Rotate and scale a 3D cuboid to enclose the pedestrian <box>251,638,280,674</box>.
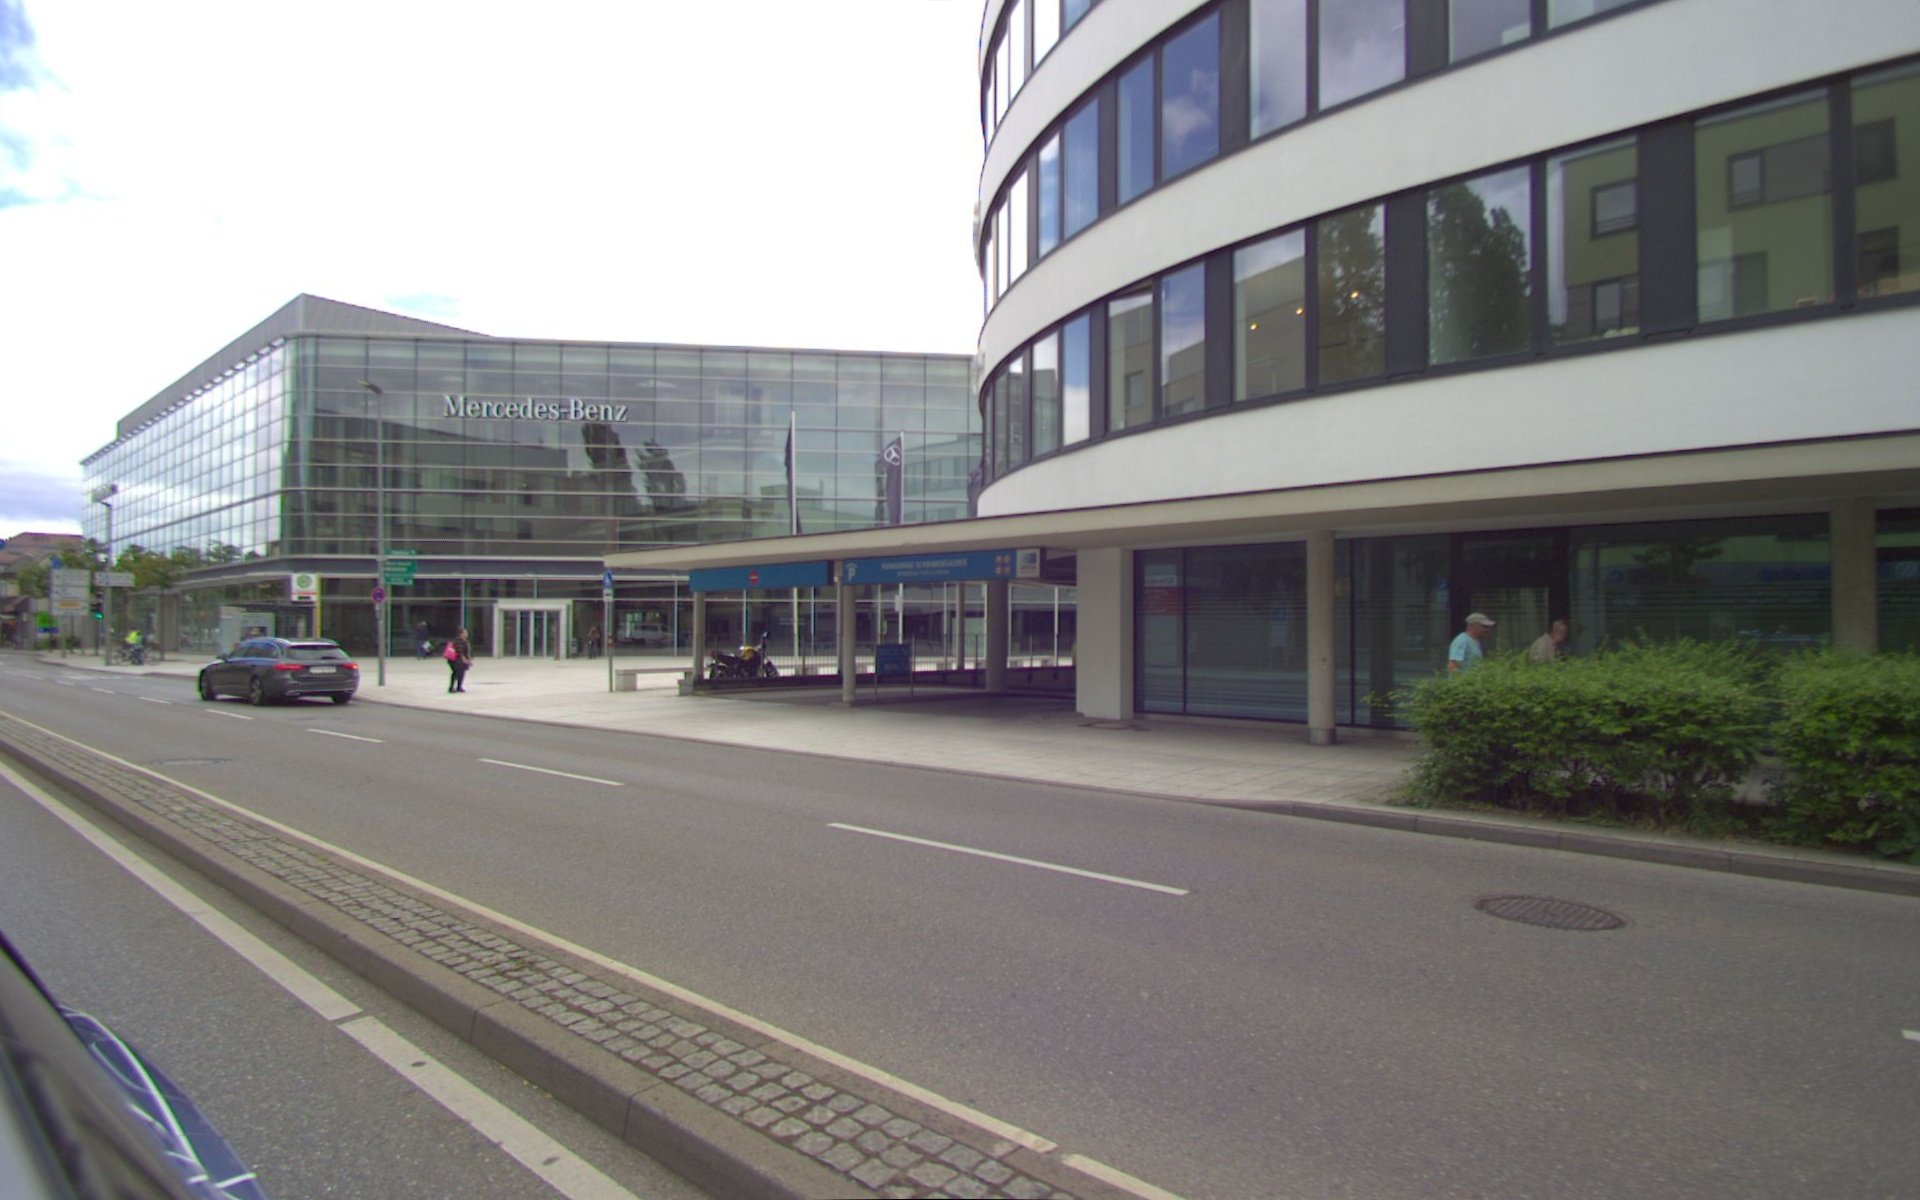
[{"bbox_3d":[-24.605,1.989,35.844,0.576,1.263,0.677,-2,-3,40],"label":"pedestrian"}]

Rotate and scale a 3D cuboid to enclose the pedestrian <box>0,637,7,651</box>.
[{"bbox_3d":[-101.570,4.670,107.270,0.577,1.528,0.552,0,-2,9],"label":"pedestrian"}]

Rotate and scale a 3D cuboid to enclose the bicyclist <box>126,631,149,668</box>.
[{"bbox_3d":[-38.957,2.338,47.941,0.771,1.661,0.640,-2,0,-34],"label":"bicyclist"}]

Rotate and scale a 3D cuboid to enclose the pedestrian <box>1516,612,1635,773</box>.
[{"bbox_3d":[6.611,0.954,10.876,0.931,1.625,0.722,-2,-1,43],"label":"pedestrian"}]

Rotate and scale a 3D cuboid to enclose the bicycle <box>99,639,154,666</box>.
[{"bbox_3d":[-41.162,2.599,49.977,2.000,1.215,0.748,-2,0,-4],"label":"bicycle"}]

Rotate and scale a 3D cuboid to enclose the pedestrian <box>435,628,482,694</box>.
[{"bbox_3d":[-12.421,1.484,25.056,0.820,1.579,0.814,0,-1,-44],"label":"pedestrian"}]

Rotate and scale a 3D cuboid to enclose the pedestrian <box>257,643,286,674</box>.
[{"bbox_3d":[-24.120,2.057,35.461,0.576,1.084,0.677,-2,-4,40],"label":"pedestrian"}]

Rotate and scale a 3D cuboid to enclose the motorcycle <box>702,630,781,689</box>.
[{"bbox_3d":[-5.365,1.448,24.952,0.636,1.343,1.833,-2,-1,44],"label":"motorcycle"}]

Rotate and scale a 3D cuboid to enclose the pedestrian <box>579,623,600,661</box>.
[{"bbox_3d":[-18.996,2.146,51.928,0.747,1.960,0.680,-1,-1,28],"label":"pedestrian"}]

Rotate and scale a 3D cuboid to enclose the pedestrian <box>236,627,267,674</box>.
[{"bbox_3d":[-25.234,1.789,36.069,0.568,1.644,0.686,1,-3,0],"label":"pedestrian"}]

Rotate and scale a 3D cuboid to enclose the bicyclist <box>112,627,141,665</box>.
[{"bbox_3d":[-41.174,2.282,49.995,0.762,1.813,0.748,-2,0,-5],"label":"bicyclist"}]

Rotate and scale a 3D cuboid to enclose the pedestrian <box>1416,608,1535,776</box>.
[{"bbox_3d":[5.484,0.938,10.770,0.931,1.686,0.722,-2,-1,43],"label":"pedestrian"}]

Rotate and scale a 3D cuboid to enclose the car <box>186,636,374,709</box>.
[{"bbox_3d":[-15.205,1.549,22.569,4.457,1.426,1.882,-2,0,33],"label":"car"}]

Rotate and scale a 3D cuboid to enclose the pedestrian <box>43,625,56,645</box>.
[{"bbox_3d":[-77.122,2.951,85.691,0.693,1.636,0.693,-2,-3,41],"label":"pedestrian"}]

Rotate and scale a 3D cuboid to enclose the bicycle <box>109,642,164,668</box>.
[{"bbox_3d":[-38.981,2.596,47.927,1.973,1.139,0.640,-2,0,-34],"label":"bicycle"}]

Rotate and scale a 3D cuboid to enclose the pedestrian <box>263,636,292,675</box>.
[{"bbox_3d":[-23.618,1.912,35.022,0.576,1.330,0.677,-2,-4,40],"label":"pedestrian"}]

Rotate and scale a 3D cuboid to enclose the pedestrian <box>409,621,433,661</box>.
[{"bbox_3d":[-27.205,2.058,51.100,0.740,1.960,0.902,-1,-1,2],"label":"pedestrian"}]
